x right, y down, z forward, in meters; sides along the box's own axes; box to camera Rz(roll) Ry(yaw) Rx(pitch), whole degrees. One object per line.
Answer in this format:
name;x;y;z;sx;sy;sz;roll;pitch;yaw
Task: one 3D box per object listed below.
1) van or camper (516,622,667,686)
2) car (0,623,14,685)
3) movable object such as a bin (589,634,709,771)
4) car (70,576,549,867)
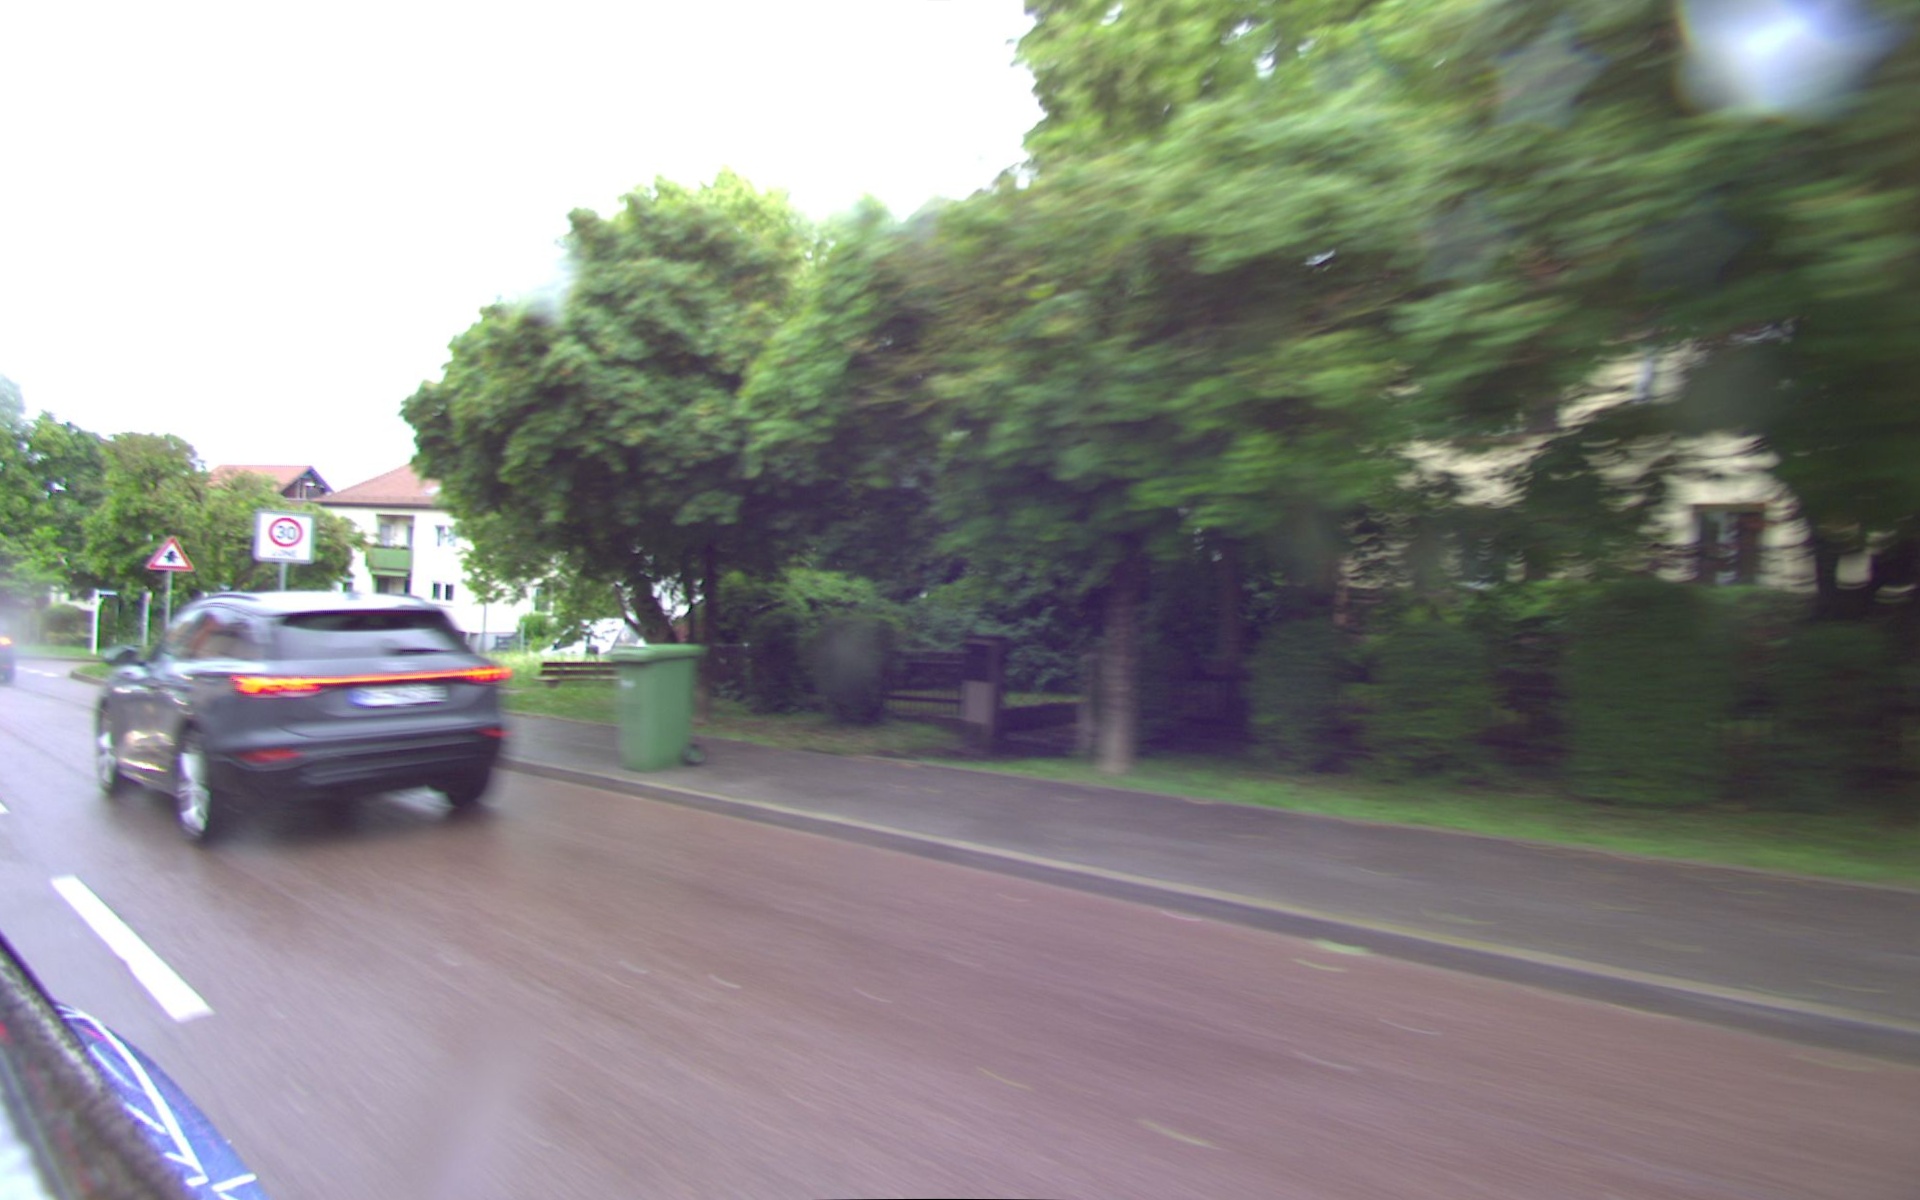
van or camper;-15.582;2.262;42.809;5.998;2.576;1.636;-1;0;10
car;-24.083;1.285;24.247;3.734;1.452;1.602;-1;-2;40
movable object such as a bin;-2.749;0.873;8.949;0.757;1.108;0.713;-2;-1;41
car;-5.187;0.731;7.832;4.359;1.636;1.899;-1;-2;40
